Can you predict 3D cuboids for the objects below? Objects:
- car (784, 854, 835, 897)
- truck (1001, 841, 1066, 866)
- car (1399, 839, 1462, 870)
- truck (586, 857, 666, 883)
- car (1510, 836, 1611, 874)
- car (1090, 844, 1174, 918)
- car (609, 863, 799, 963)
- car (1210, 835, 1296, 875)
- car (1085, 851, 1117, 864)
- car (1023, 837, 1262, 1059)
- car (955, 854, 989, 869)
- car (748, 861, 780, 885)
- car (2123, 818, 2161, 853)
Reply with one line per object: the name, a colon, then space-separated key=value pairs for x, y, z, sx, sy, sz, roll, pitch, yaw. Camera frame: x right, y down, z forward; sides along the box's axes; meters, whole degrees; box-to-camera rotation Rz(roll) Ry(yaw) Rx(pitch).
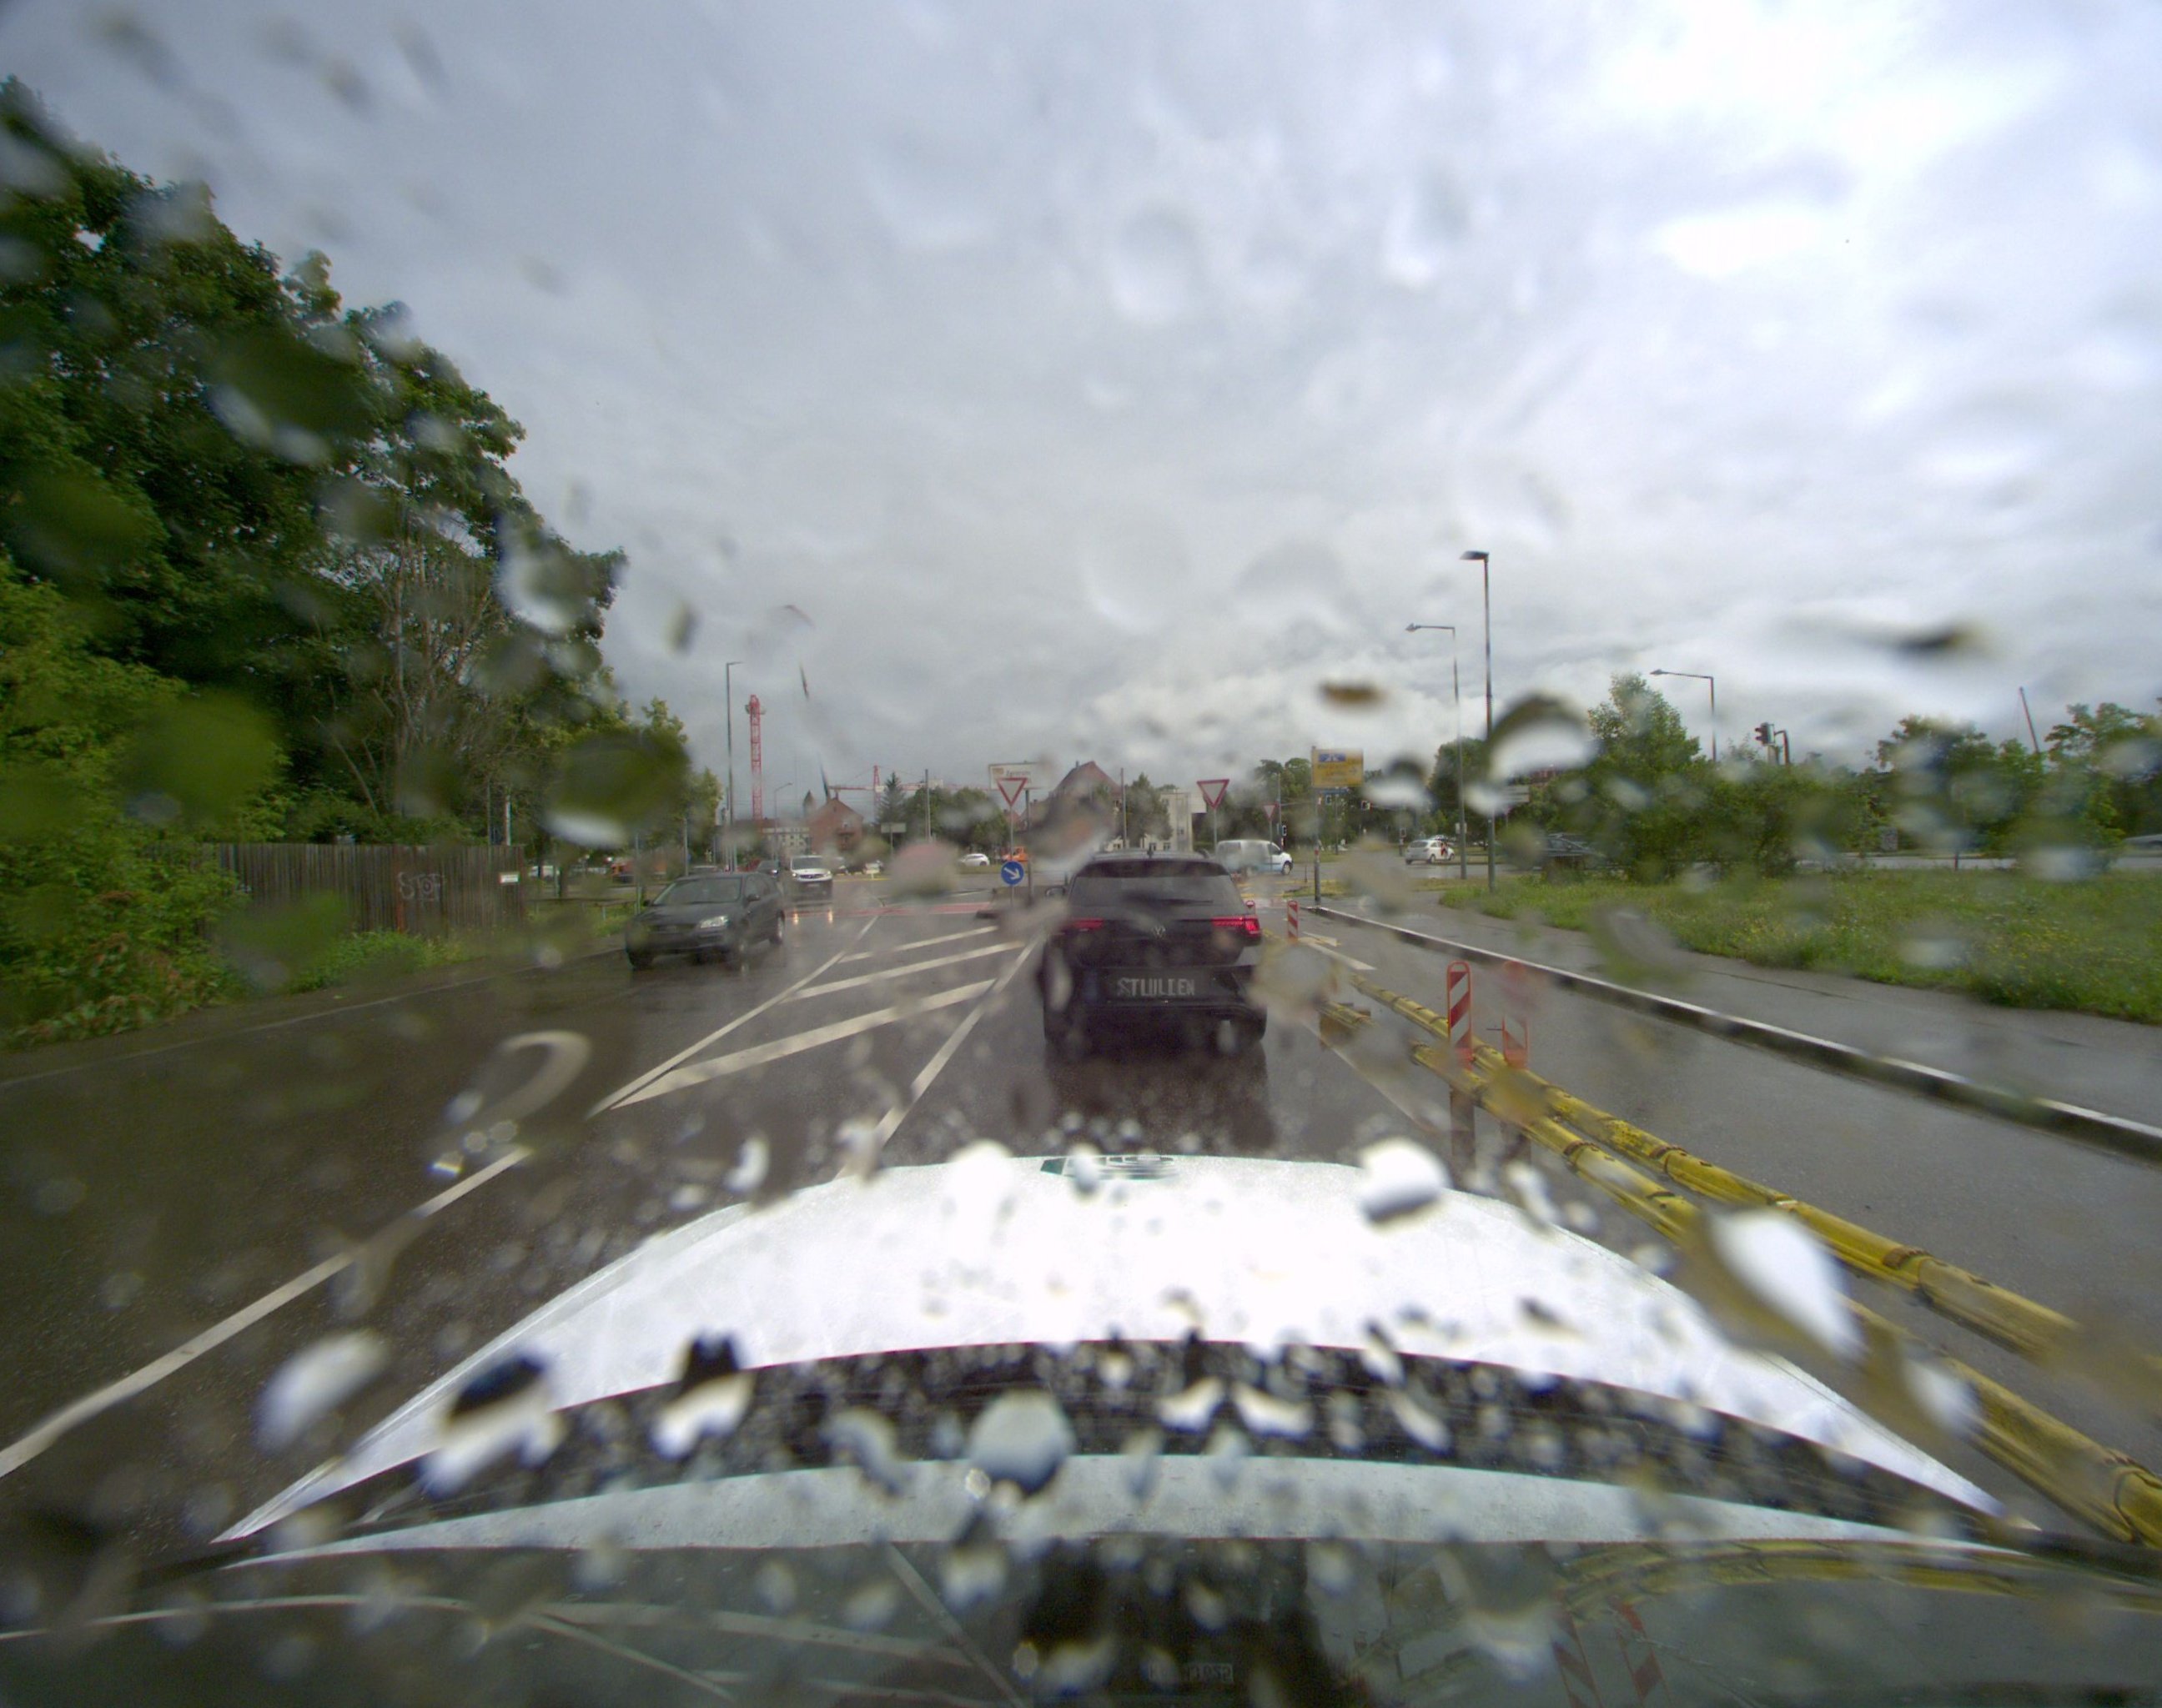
car: x=-13.116 y=0.994 z=39.155 sx=1.896 sy=1.876 sz=5.093 roll=-2 pitch=0 yaw=-22
truck: x=-5.446 y=-0.045 z=93.377 sx=7.089 sy=2.650 sz=2.315 roll=-2 pitch=0 yaw=-20
car: x=21.825 y=0.024 z=50.806 sx=4.021 sy=1.830 sz=1.976 roll=-2 pitch=0 yaw=-40
truck: x=-46.978 y=1.637 z=84.172 sx=6.684 sy=2.442 sz=2.433 roll=-2 pitch=0 yaw=-2
car: x=22.672 y=0.049 z=38.649 sx=3.907 sy=1.644 sz=1.680 roll=-1 pitch=0 yaw=22
car: x=1.096 y=0.554 z=18.976 sx=1.729 sy=1.514 sz=3.603 roll=-1 pitch=0 yaw=0
car: x=-6.610 y=0.943 z=14.815 sx=1.872 sy=1.482 sz=4.168 roll=-2 pitch=-1 yaw=-7
car: x=8.508 y=0.016 z=40.102 sx=4.428 sy=1.809 sz=1.847 roll=-2 pitch=0 yaw=-42
car: x=2.459 y=0.426 z=100.594 sx=3.855 sy=1.584 sz=1.569 roll=-1 pitch=0 yaw=3
car: x=0.427 y=0.679 z=7.729 sx=1.703 sy=1.574 sz=3.681 roll=-1 pitch=0 yaw=-1
car: x=-12.622 y=0.862 z=94.071 sx=3.520 sy=1.584 sz=1.550 roll=-2 pitch=0 yaw=-34
car: x=-23.864 y=1.427 z=61.175 sx=1.744 sy=1.664 sz=4.072 roll=-2 pitch=0 yaw=-28
car: x=49.760 y=-0.887 z=36.182 sx=1.925 sy=1.560 sz=4.064 roll=-2 pitch=0 yaw=-43
